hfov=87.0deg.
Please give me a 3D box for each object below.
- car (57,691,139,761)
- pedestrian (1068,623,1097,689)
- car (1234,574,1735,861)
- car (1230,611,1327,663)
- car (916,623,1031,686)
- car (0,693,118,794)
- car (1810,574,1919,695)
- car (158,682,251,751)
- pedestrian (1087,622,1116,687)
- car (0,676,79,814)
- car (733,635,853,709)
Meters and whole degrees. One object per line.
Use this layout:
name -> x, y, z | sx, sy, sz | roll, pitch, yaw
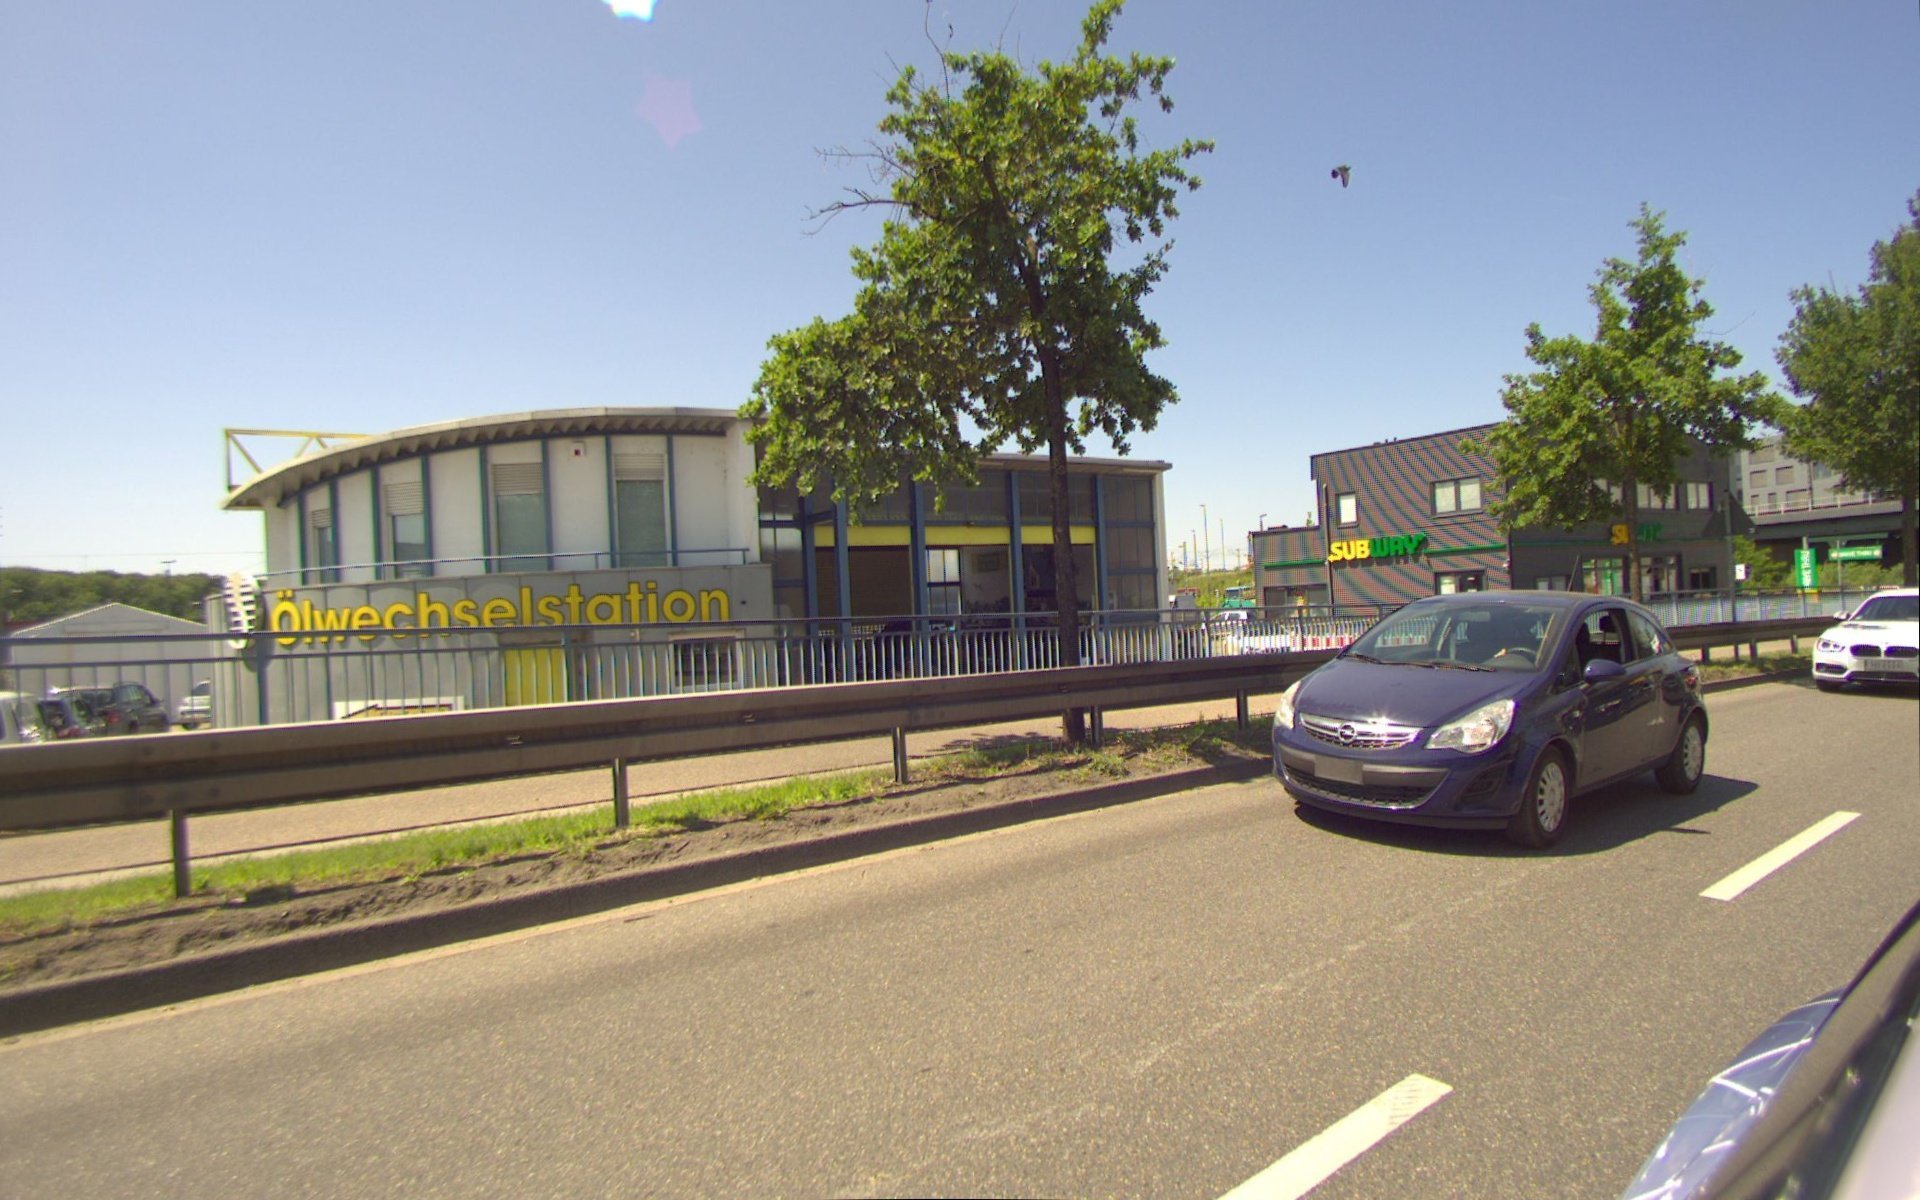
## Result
car -> -21.485, 3.098, 25.292 | 1.200, 1.367, 2.714 | -2, 1, -34
pedestrian -> 3.261, 1.485, 27.008 | 0.479, 1.724, 0.523 | -2, 0, -32
car -> 3.784, 0.584, 7.056 | 3.820, 1.462, 1.650 | -1, 0, -38
car -> 10.193, 1.134, 32.749 | 1.965, 1.375, 5.075 | -2, 1, 6
car -> 0.349, 1.622, 31.230 | 1.620, 1.705, 3.677 | -2, 1, -36
car -> -18.537, 2.852, 20.782 | 1.444, 1.493, 4.147 | -2, 1, -34
car -> 13.805, 0.407, 14.252 | 3.975, 1.461, 1.765 | -2, 2, -34
car -> -23.067, 3.501, 31.042 | 1.655, 1.571, 4.005 | -2, 1, -28
pedestrian -> 3.852, 1.475, 27.599 | 0.578, 1.724, 0.427 | -2, 0, -33
car -> -15.136, 2.199, 15.728 | 1.566, 1.681, 4.610 | -2, 1, -34
car -> -4.564, 1.857, 27.250 | 1.620, 1.705, 3.677 | -2, 1, -37
